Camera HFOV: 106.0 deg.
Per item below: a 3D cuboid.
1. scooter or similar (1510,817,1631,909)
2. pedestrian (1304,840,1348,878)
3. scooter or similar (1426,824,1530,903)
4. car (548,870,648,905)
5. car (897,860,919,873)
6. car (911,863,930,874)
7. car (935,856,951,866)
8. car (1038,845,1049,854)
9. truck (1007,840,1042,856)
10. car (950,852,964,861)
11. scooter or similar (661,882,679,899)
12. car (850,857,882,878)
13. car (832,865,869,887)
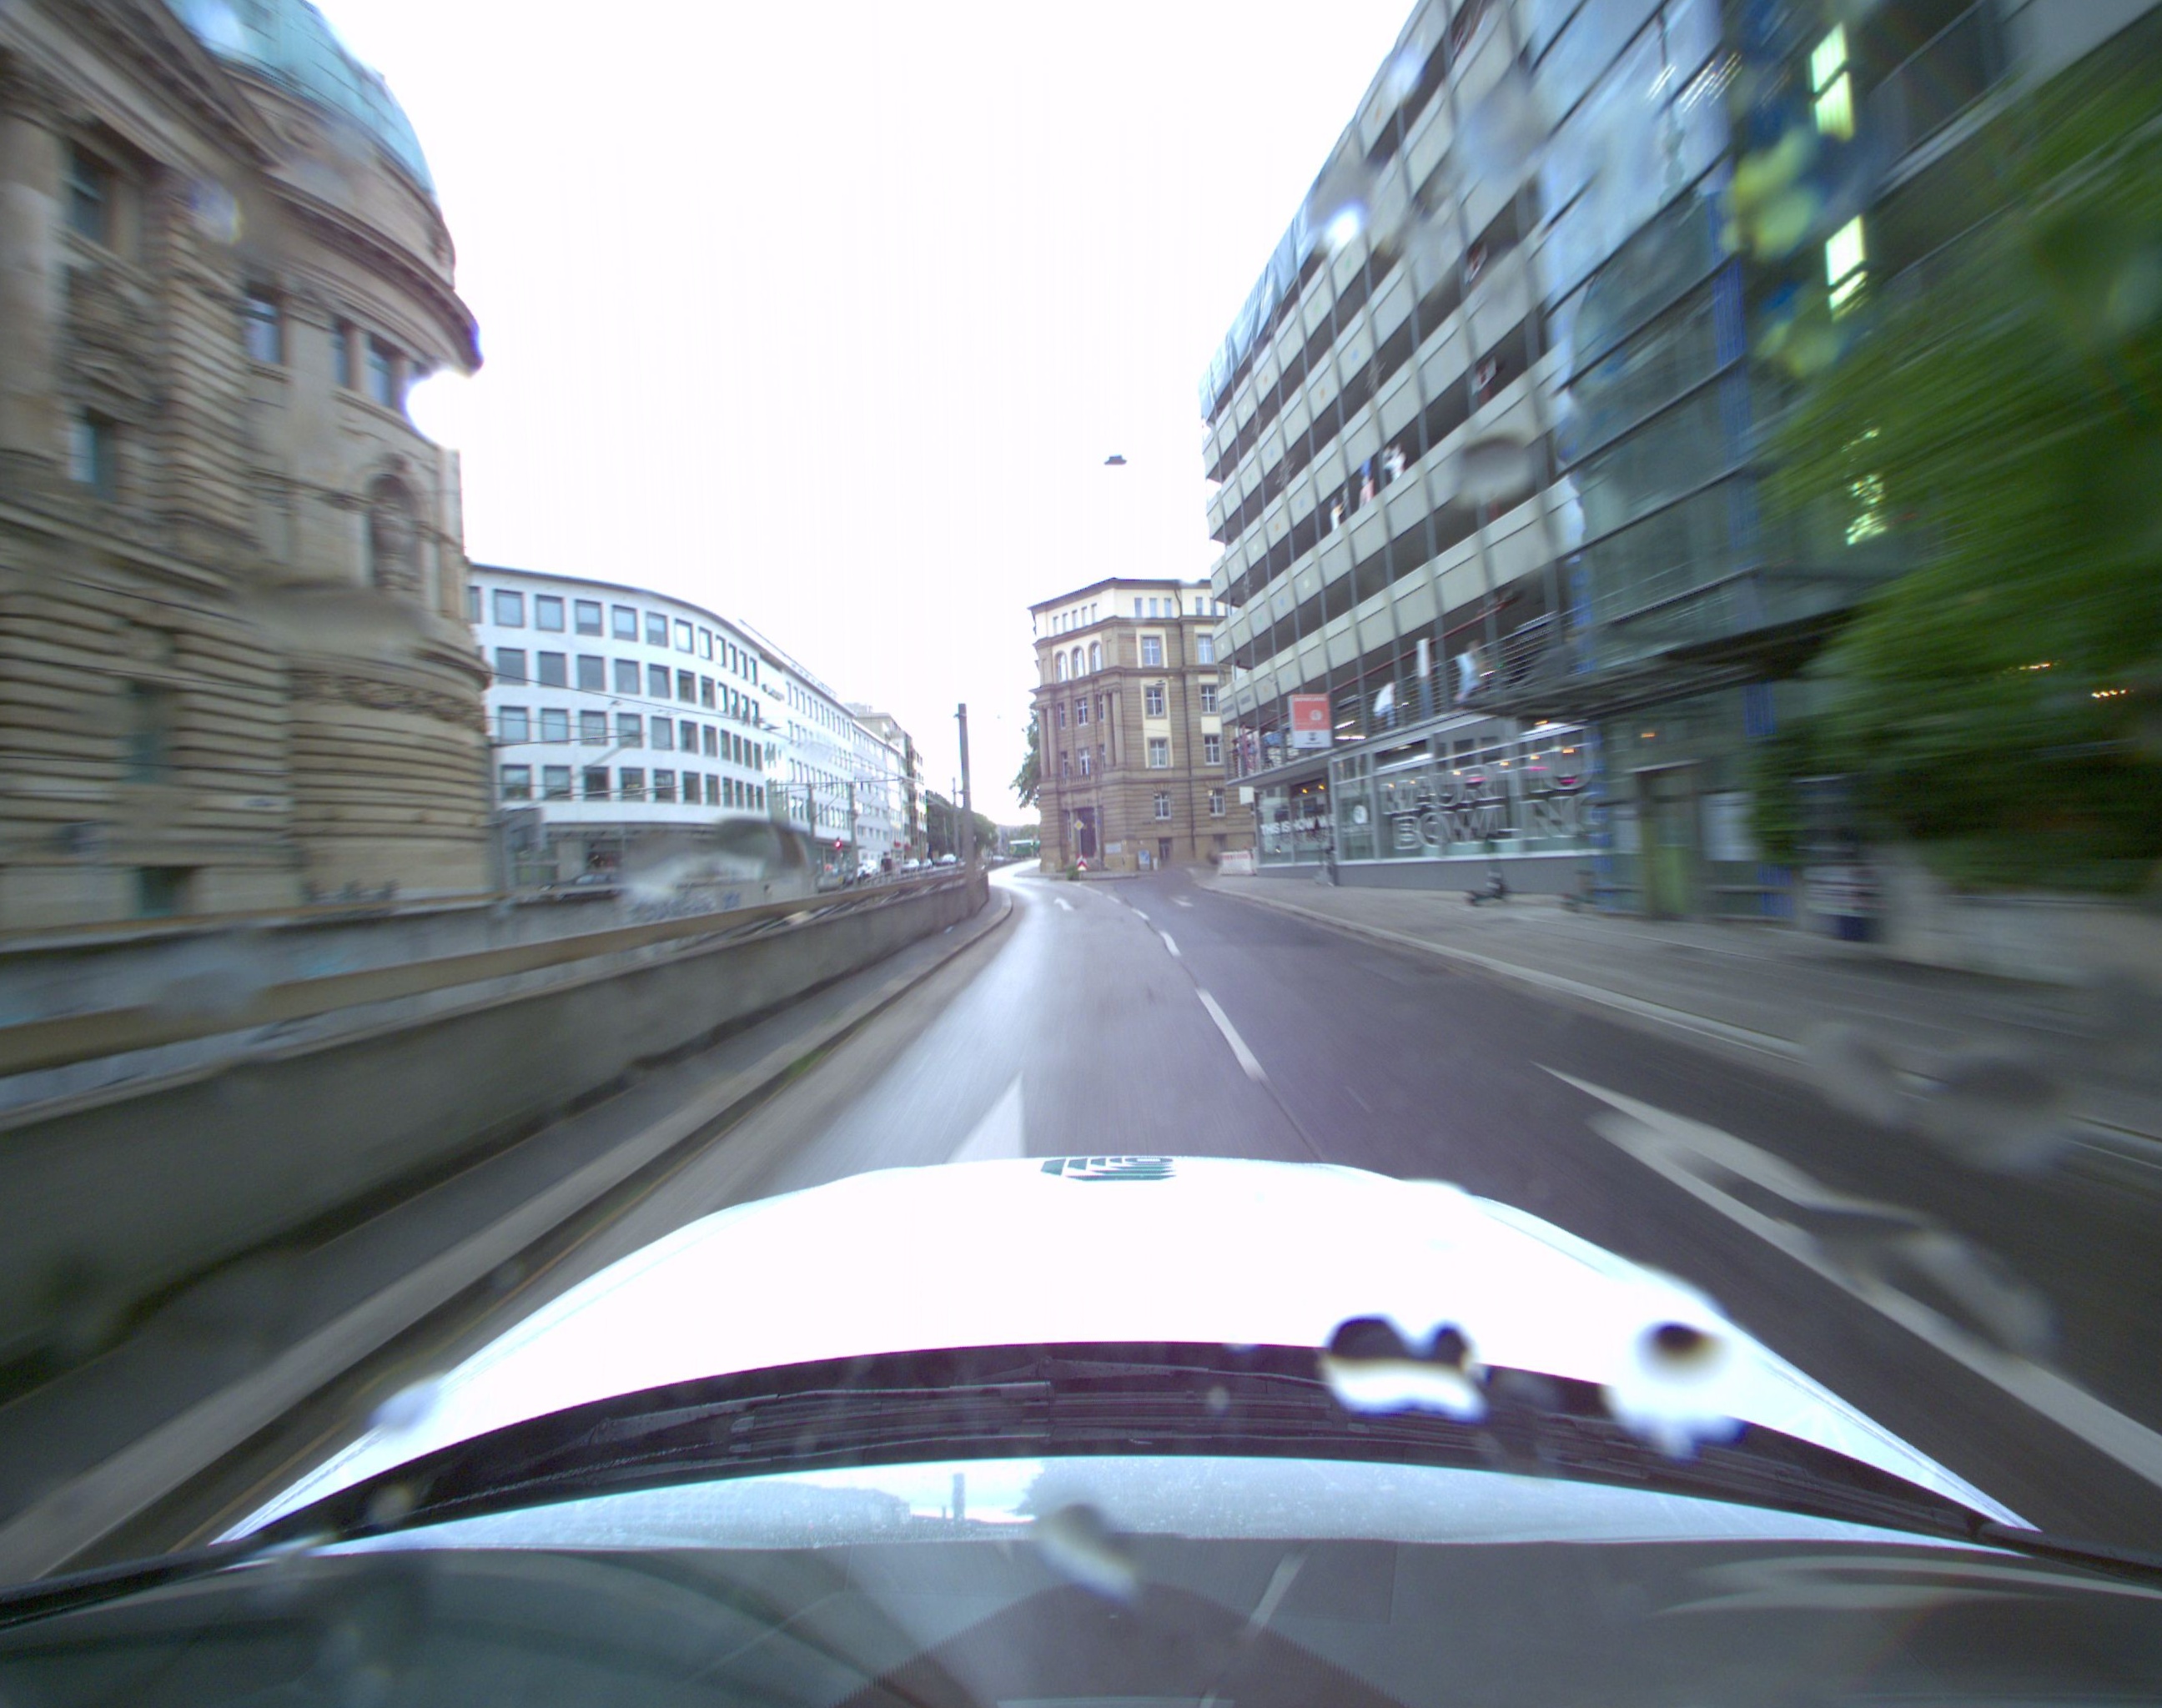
[{"bbox_3d":[7.711,0.120,12.824,1.642,1.267,0.737,-5,1,-23],"label":"scooter or similar"},{"bbox_3d":[7.546,0.152,25.102,0.753,1.123,1.242,-3,0,-12],"label":"pedestrian"},{"bbox_3d":[7.254,0.165,14.868,1.642,1.267,0.737,-5,1,-23],"label":"scooter or similar"},{"bbox_3d":[-28.201,1.914,47.630,4.805,1.522,1.656,-6,0,-38],"label":"car"},{"bbox_3d":[-21.552,1.585,101.517,1.989,1.456,4.306,-3,0,-3],"label":"car"},{"bbox_3d":[-22.396,2.007,113.919,1.989,1.456,4.306,-3,0,-3],"label":"car"},{"bbox_3d":[-22.080,1.083,130.557,1.989,1.456,4.306,-3,0,-3],"label":"car"},{"bbox_3d":[-7.300,-0.802,159.448,1.989,1.662,3.996,-3,0,-3],"label":"car"},{"bbox_3d":[-12.444,-1.322,179.690,7.827,3.387,2.012,-1,0,29],"label":"truck"},{"bbox_3d":[-21.743,0.456,143.161,1.989,1.456,4.306,-3,0,-3],"label":"car"},{"bbox_3d":[-26.148,2.322,51.775,0.815,1.044,0.550,-3,0,12],"label":"scooter or similar"},{"bbox_3d":[-21.186,1.333,80.417,1.989,1.883,4.922,-3,0,-3],"label":"car"},{"bbox_3d":[-18.223,1.721,64.562,1.989,1.527,3.659,-3,0,-3],"label":"car"}]
